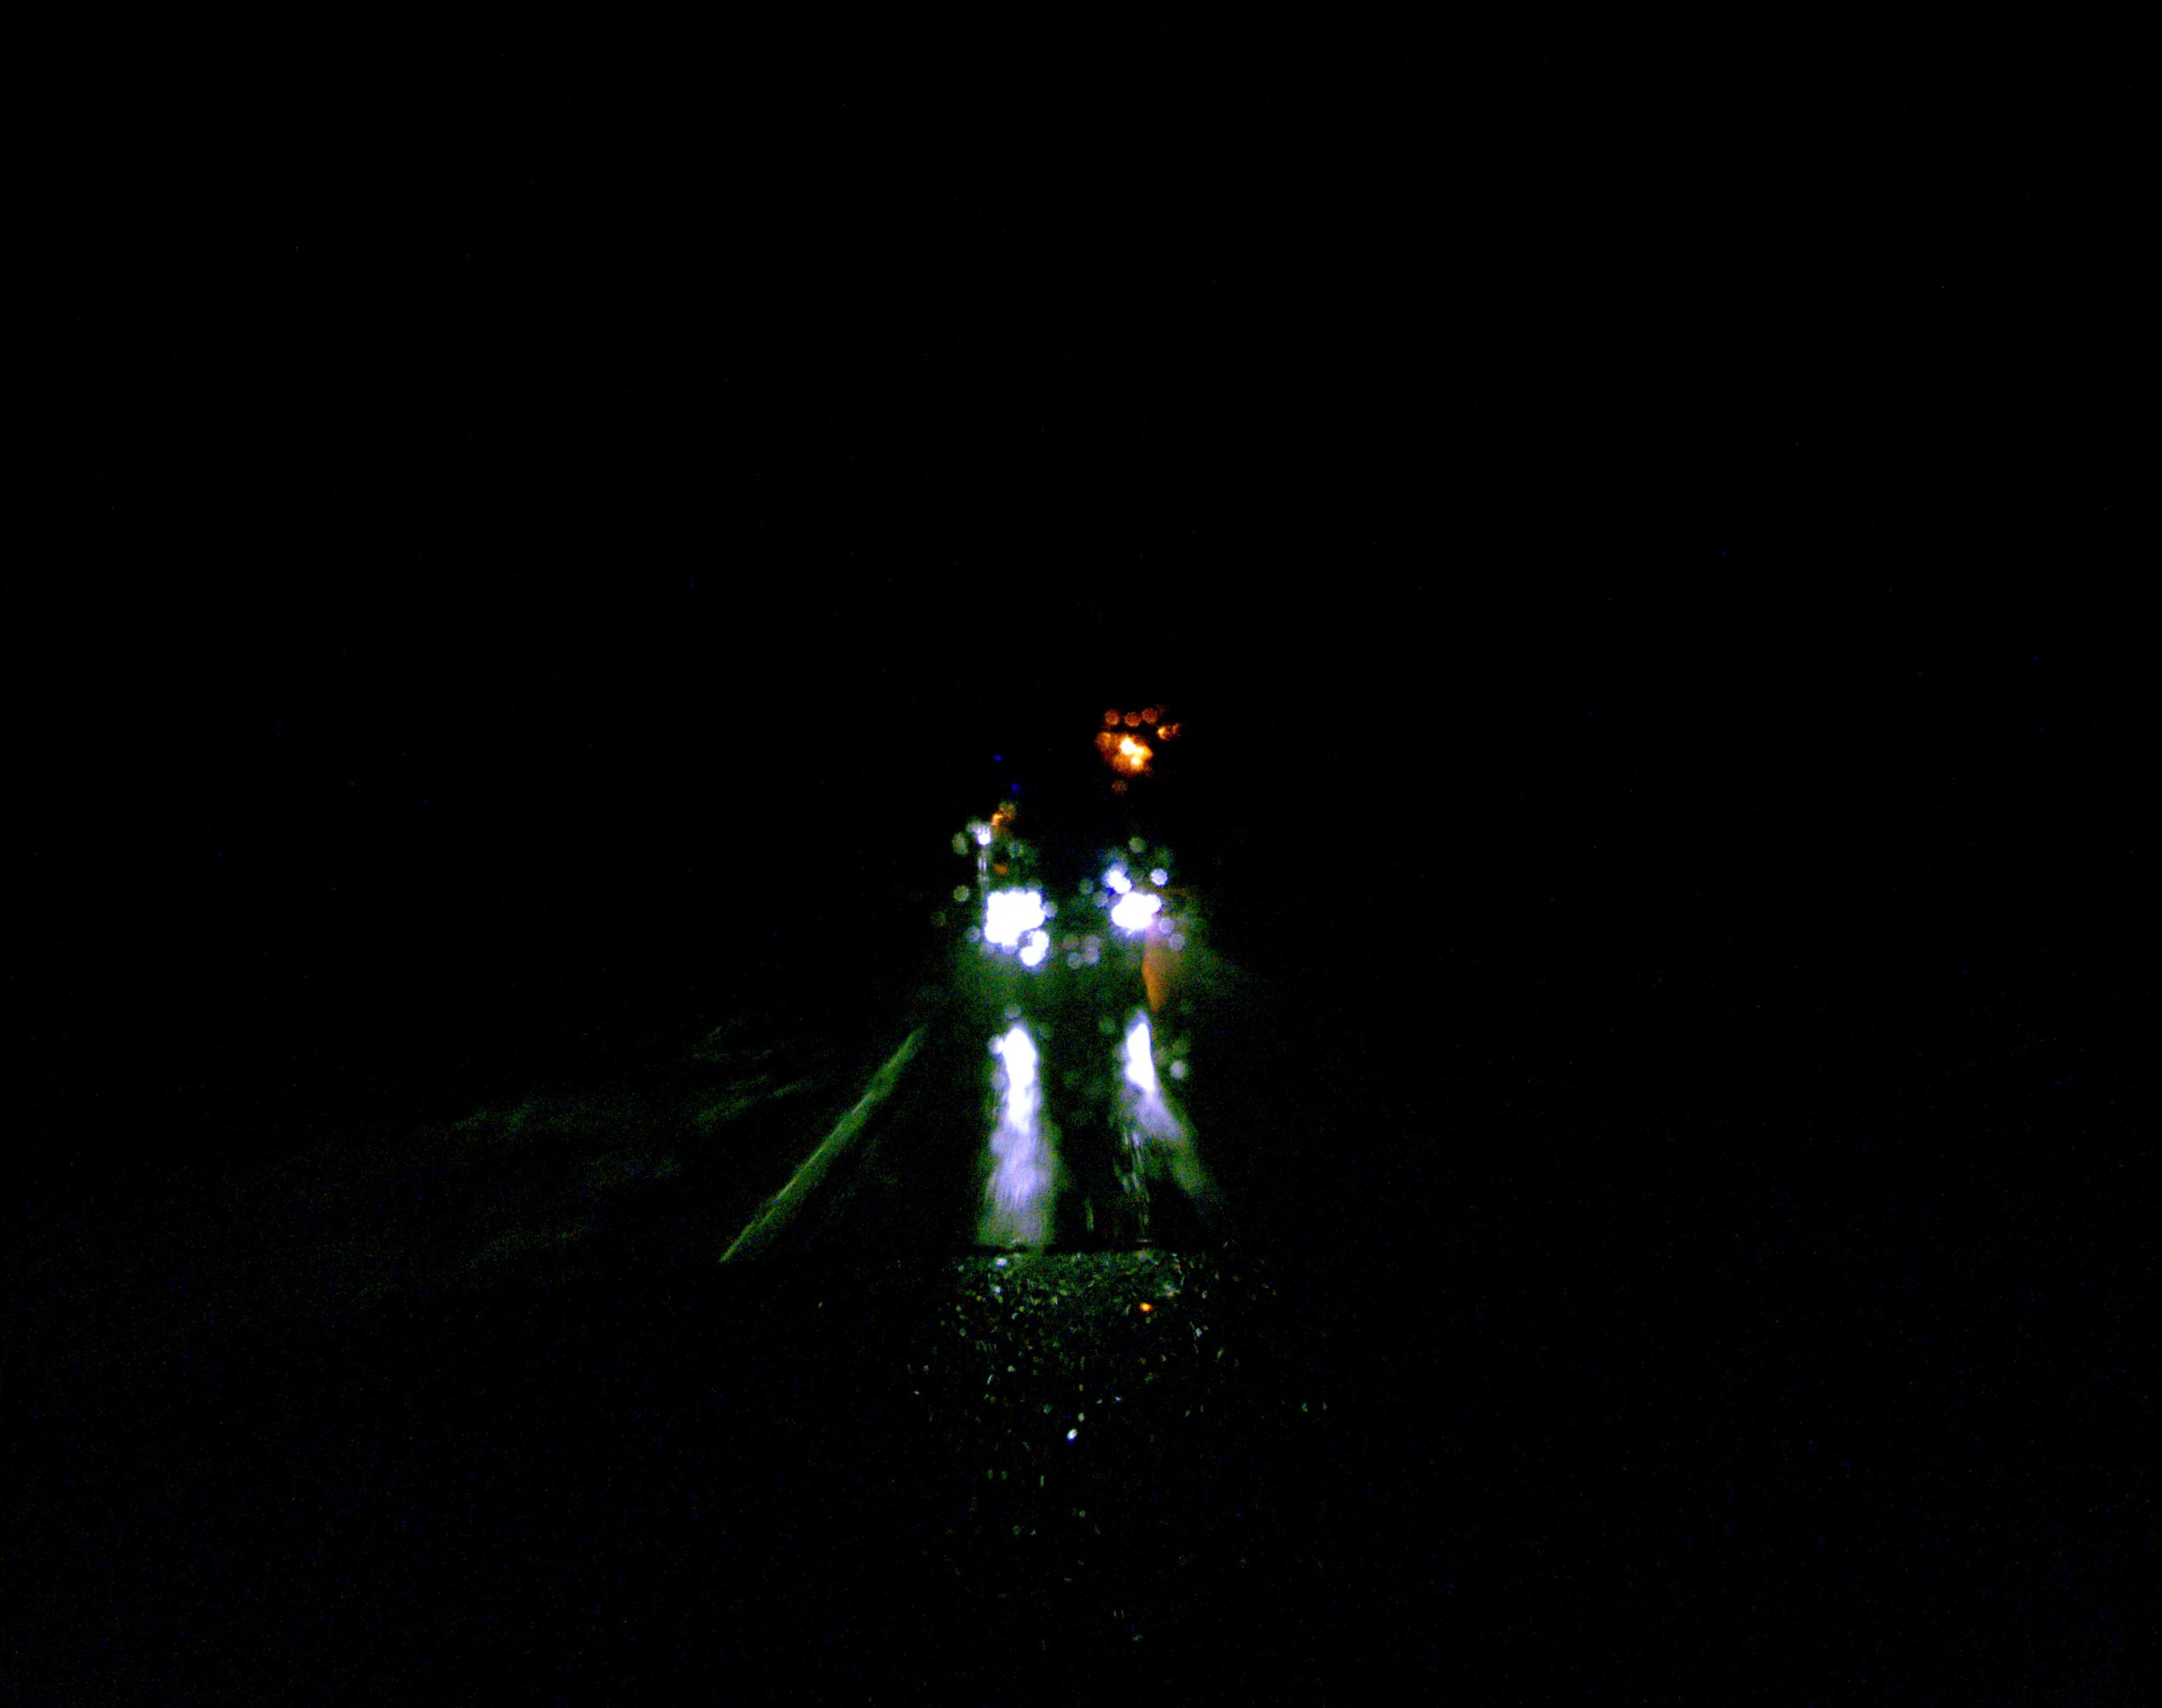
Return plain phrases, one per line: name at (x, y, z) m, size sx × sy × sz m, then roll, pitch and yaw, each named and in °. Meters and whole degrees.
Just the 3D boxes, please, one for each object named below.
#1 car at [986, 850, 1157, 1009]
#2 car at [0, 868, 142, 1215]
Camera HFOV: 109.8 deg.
car at (-0.314, 0.837, 10.813) m, size 1.894 × 1.678 × 4.336 m, roll -3°, pitch 1°, yaw -6°
car at (-7.199, 0.840, 3.112) m, size 4.477 × 1.577 × 1.940 m, roll 0°, pitch 0°, yaw 3°
